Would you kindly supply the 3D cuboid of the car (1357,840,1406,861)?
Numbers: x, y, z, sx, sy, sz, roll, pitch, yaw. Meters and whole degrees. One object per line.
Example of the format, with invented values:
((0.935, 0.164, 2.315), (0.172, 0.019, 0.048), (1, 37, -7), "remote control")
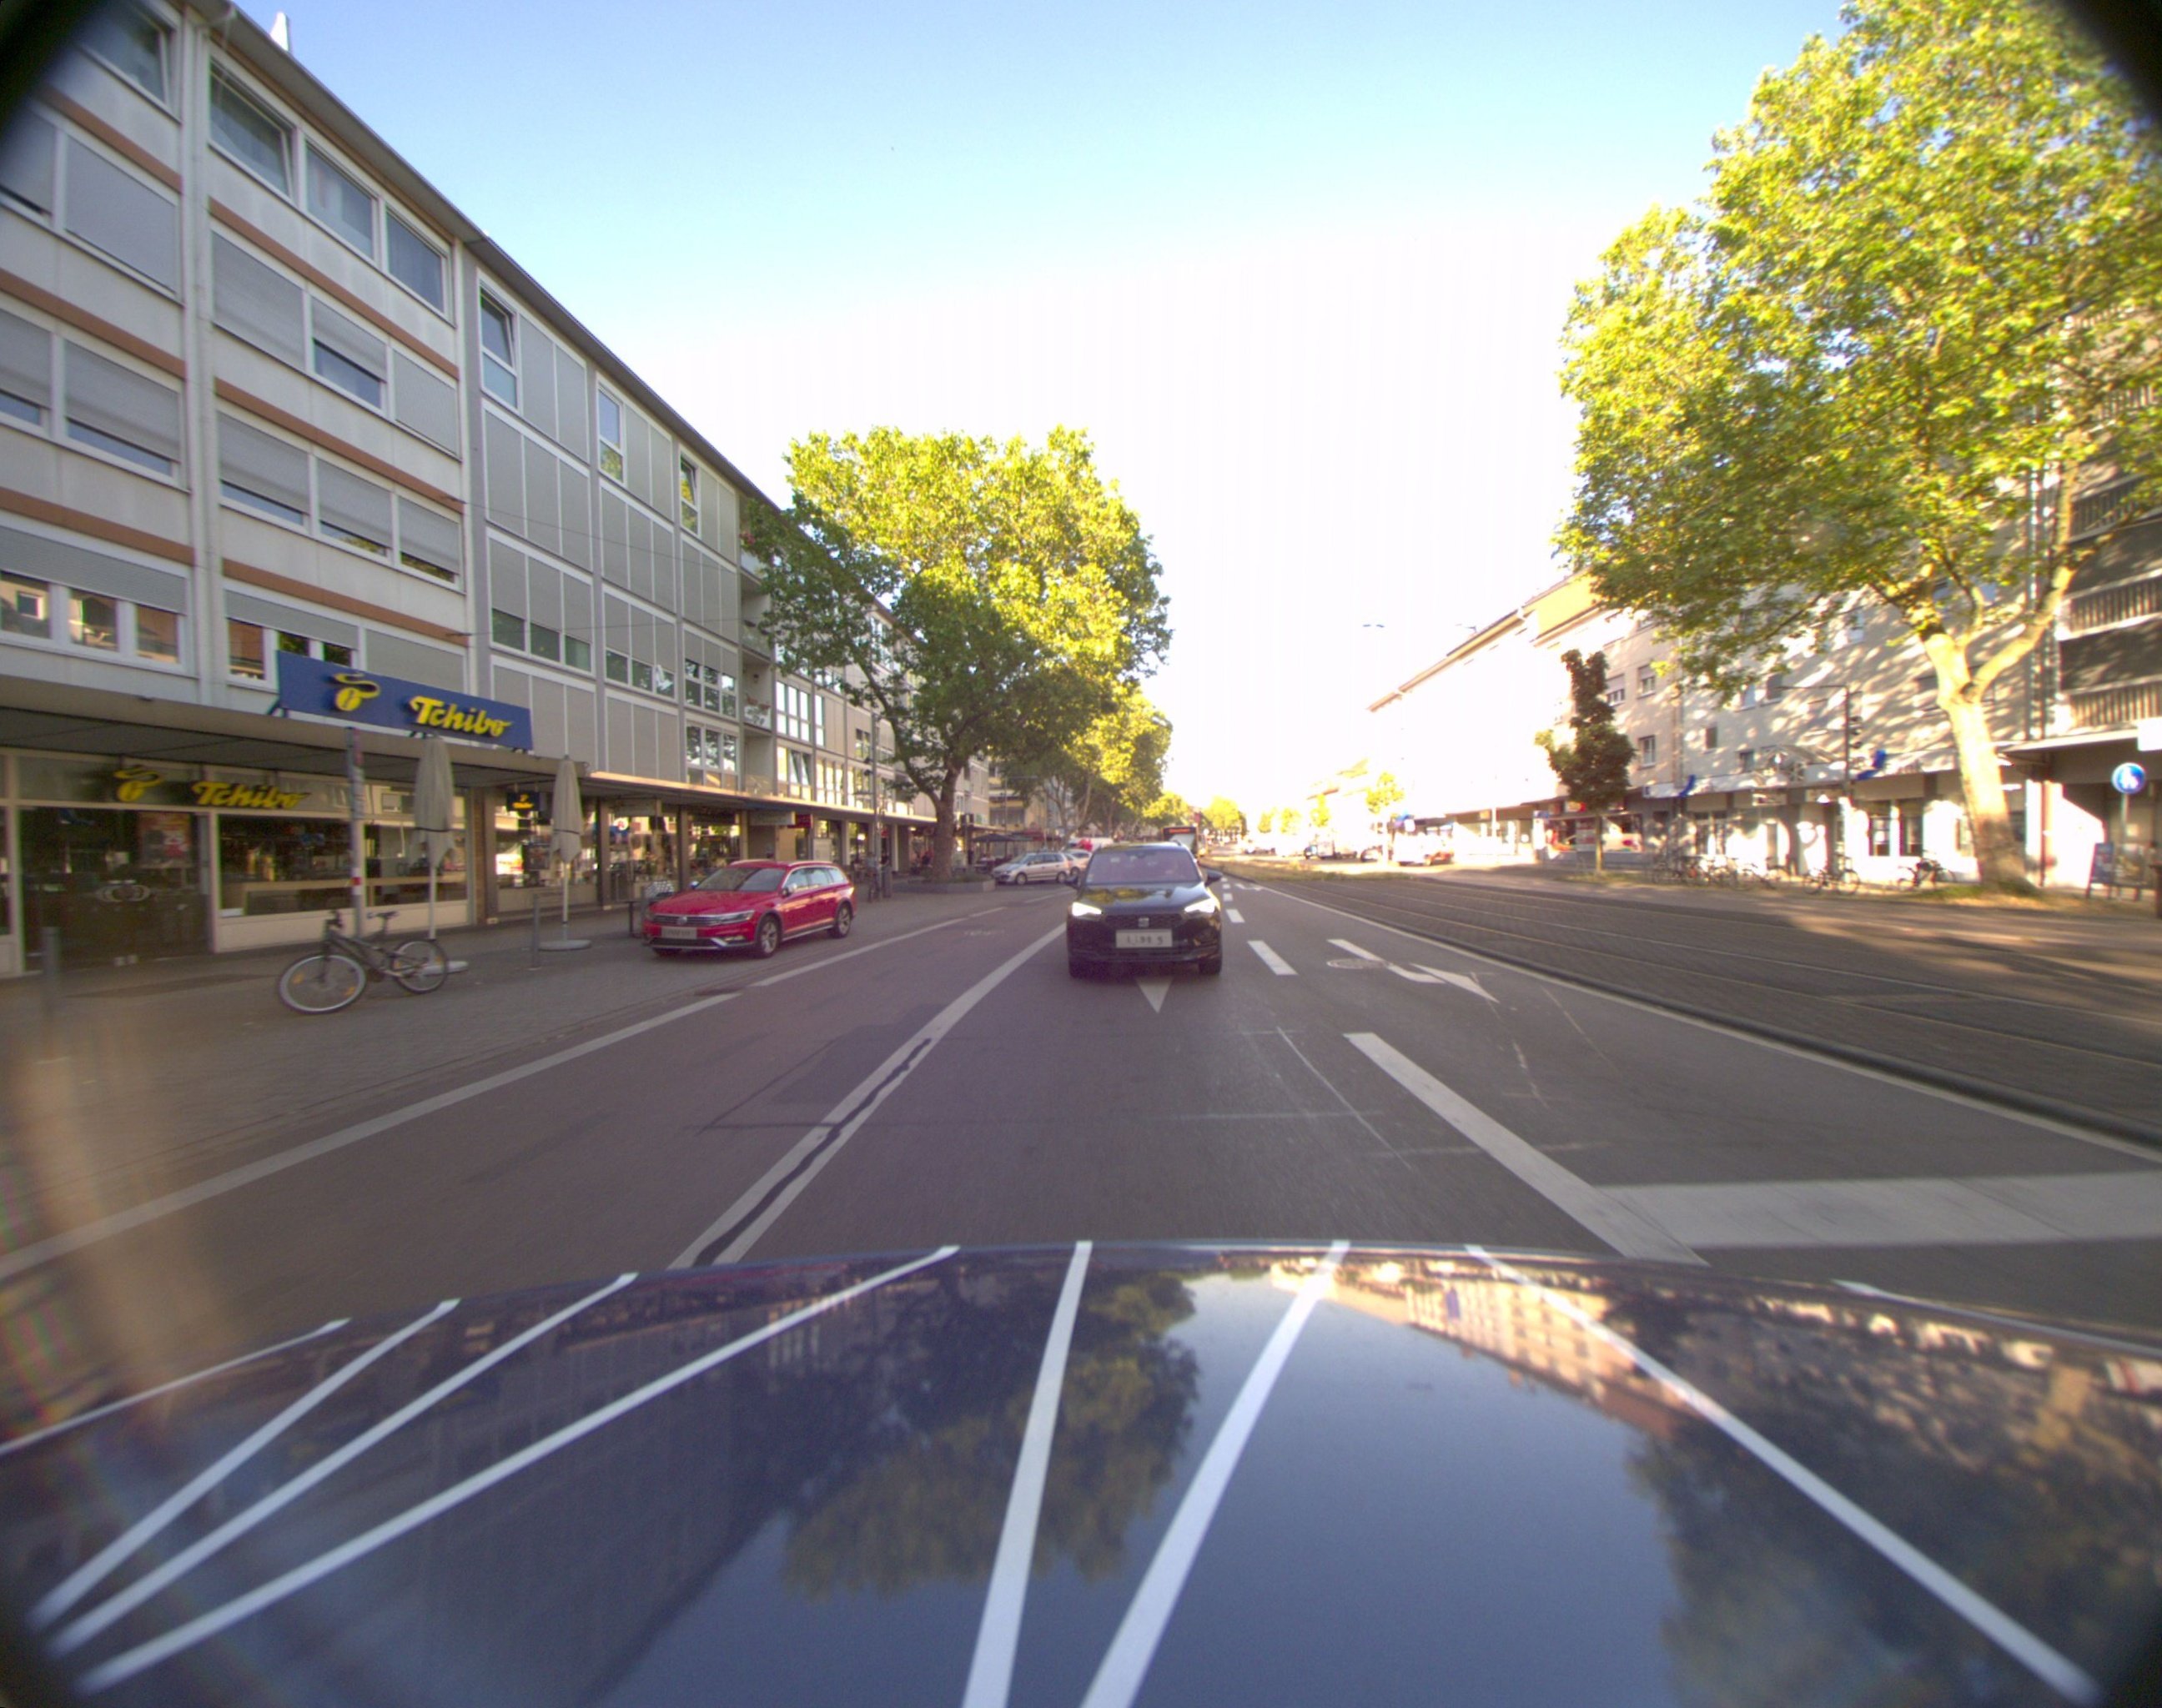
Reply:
((24.314, -0.282, 61.415), (4.459, 1.482, 1.765), (-4, 1, -42), "car")

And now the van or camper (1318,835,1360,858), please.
((25.461, -0.744, 74.980), (4.459, 1.978, 1.795), (-4, 1, -39), "van or camper")

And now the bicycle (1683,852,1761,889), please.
((20.393, 0.518, 24.193), (1.898, 1.118, 0.652), (-2, 1, 3), "bicycle")

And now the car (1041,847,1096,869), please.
((-0.919, 0.276, 58.223), (4.007, 1.514, 1.655), (-1, 2, -35), "car")

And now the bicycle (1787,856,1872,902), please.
((19.716, 0.630, 20.070), (0.509, 1.118, 1.912), (-2, 1, 7), "bicycle")

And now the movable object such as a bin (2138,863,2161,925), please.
((19.512, 0.720, 13.628), (0.649, 1.087, 0.544), (-1, 1, -45), "movable object such as a bin")

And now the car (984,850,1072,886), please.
((-2.545, 0.636, 37.067), (4.008, 1.597, 1.804), (-1, 1, -43), "car")

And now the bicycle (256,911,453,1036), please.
((-7.726, 1.224, 8.192), (0.512, 1.064, 1.661), (1, 1, 1), "bicycle")

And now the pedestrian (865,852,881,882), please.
((-9.744, 0.607, 35.621), (0.538, 1.393, 0.687), (1, 2, 5), "pedestrian")

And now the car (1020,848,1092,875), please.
((-1.460, 0.388, 44.499), (4.007, 1.428, 1.655), (-1, 2, -38), "car")

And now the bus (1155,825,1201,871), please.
((7.284, -0.608, 56.971), (2.870, 2.962, 12.243), (-3, 2, 8), "bus")

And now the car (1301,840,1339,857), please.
((25.741, -0.595, 81.892), (4.007, 1.577, 1.875), (-4, 1, -38), "car")

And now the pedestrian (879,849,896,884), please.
((-9.028, 0.579, 35.493), (0.538, 1.582, 0.687), (1, 2, 5), "pedestrian")

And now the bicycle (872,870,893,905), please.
((-6.323, 1.049, 24.237), (0.295, 1.034, 1.717), (2, 1, -4), "bicycle")

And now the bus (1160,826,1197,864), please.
((8.849, -0.937, 69.053), (2.870, 2.962, 12.243), (-3, 2, 8), "bus")

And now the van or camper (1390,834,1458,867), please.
((22.700, -0.230, 50.190), (4.823, 1.887, 1.946), (-4, 1, -37), "van or camper")

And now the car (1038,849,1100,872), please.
((-0.799, 0.426, 51.606), (4.007, 1.428, 1.655), (-1, 2, -35), "car")

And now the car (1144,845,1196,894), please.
((3.167, 0.494, 26.834), (1.657, 1.572, 4.002), (-1, 1, 8), "car")

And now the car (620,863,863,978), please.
((-5.538, 0.977, 13.170), (1.782, 1.488, 4.569), (1, 1, 6), "car")

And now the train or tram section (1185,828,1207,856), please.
((15.148, -1.584, 99.659), (2.636, 3.430, 11.136), (-2, 1, 9), "train or tram section")

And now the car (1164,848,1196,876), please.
((5.485, 0.408, 42.119), (1.657, 1.477, 4.163), (-1, 1, 8), "car")

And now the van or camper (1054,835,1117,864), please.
((0.459, -0.421, 68.736), (5.472, 2.455, 1.995), (-2, 1, -35), "van or camper")

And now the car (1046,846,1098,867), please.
((-0.708, 0.178, 61.428), (4.007, 1.555, 1.655), (-1, 2, -35), "car")

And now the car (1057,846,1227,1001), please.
((0.940, 0.756, 10.284), (1.807, 1.638, 4.002), (-2, 1, 8), "car")

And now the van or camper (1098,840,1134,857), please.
((5.349, -0.809, 115.756), (5.473, 2.455, 1.994), (-2, 1, -37), "van or camper")

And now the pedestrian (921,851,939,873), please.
((-9.260, 0.477, 46.546), (0.750, 1.354, 0.963), (-1, 1, 10), "pedestrian")

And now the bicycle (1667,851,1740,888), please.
((20.449, 0.501, 24.994), (1.898, 1.118, 0.534), (-2, 1, 3), "bicycle")

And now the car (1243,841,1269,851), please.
((30.001, -1.345, 130.372), (3.918, 1.482, 1.767), (-3, 1, -18), "car")

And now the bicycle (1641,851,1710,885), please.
((20.528, 0.479, 26.246), (1.898, 1.118, 0.534), (-2, 1, 3), "bicycle")

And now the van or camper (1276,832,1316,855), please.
((27.134, -1.353, 95.761), (1.995, 2.652, 6.410), (-2, 1, 43), "van or camper")

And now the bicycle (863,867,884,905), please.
((-6.607, 0.997, 24.246), (0.295, 1.095, 1.717), (2, 1, -4), "bicycle")

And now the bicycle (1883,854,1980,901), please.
((21.943, 0.583, 19.656), (0.509, 1.118, 1.912), (-2, 1, 7), "bicycle")

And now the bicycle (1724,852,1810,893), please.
((20.282, 0.543, 22.481), (1.898, 1.118, 0.652), (-2, 1, 3), "bicycle")

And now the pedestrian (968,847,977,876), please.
((-7.722, 0.553, 54.043), (0.552, 2.002, 0.577), (-3, 1, -9), "pedestrian")
